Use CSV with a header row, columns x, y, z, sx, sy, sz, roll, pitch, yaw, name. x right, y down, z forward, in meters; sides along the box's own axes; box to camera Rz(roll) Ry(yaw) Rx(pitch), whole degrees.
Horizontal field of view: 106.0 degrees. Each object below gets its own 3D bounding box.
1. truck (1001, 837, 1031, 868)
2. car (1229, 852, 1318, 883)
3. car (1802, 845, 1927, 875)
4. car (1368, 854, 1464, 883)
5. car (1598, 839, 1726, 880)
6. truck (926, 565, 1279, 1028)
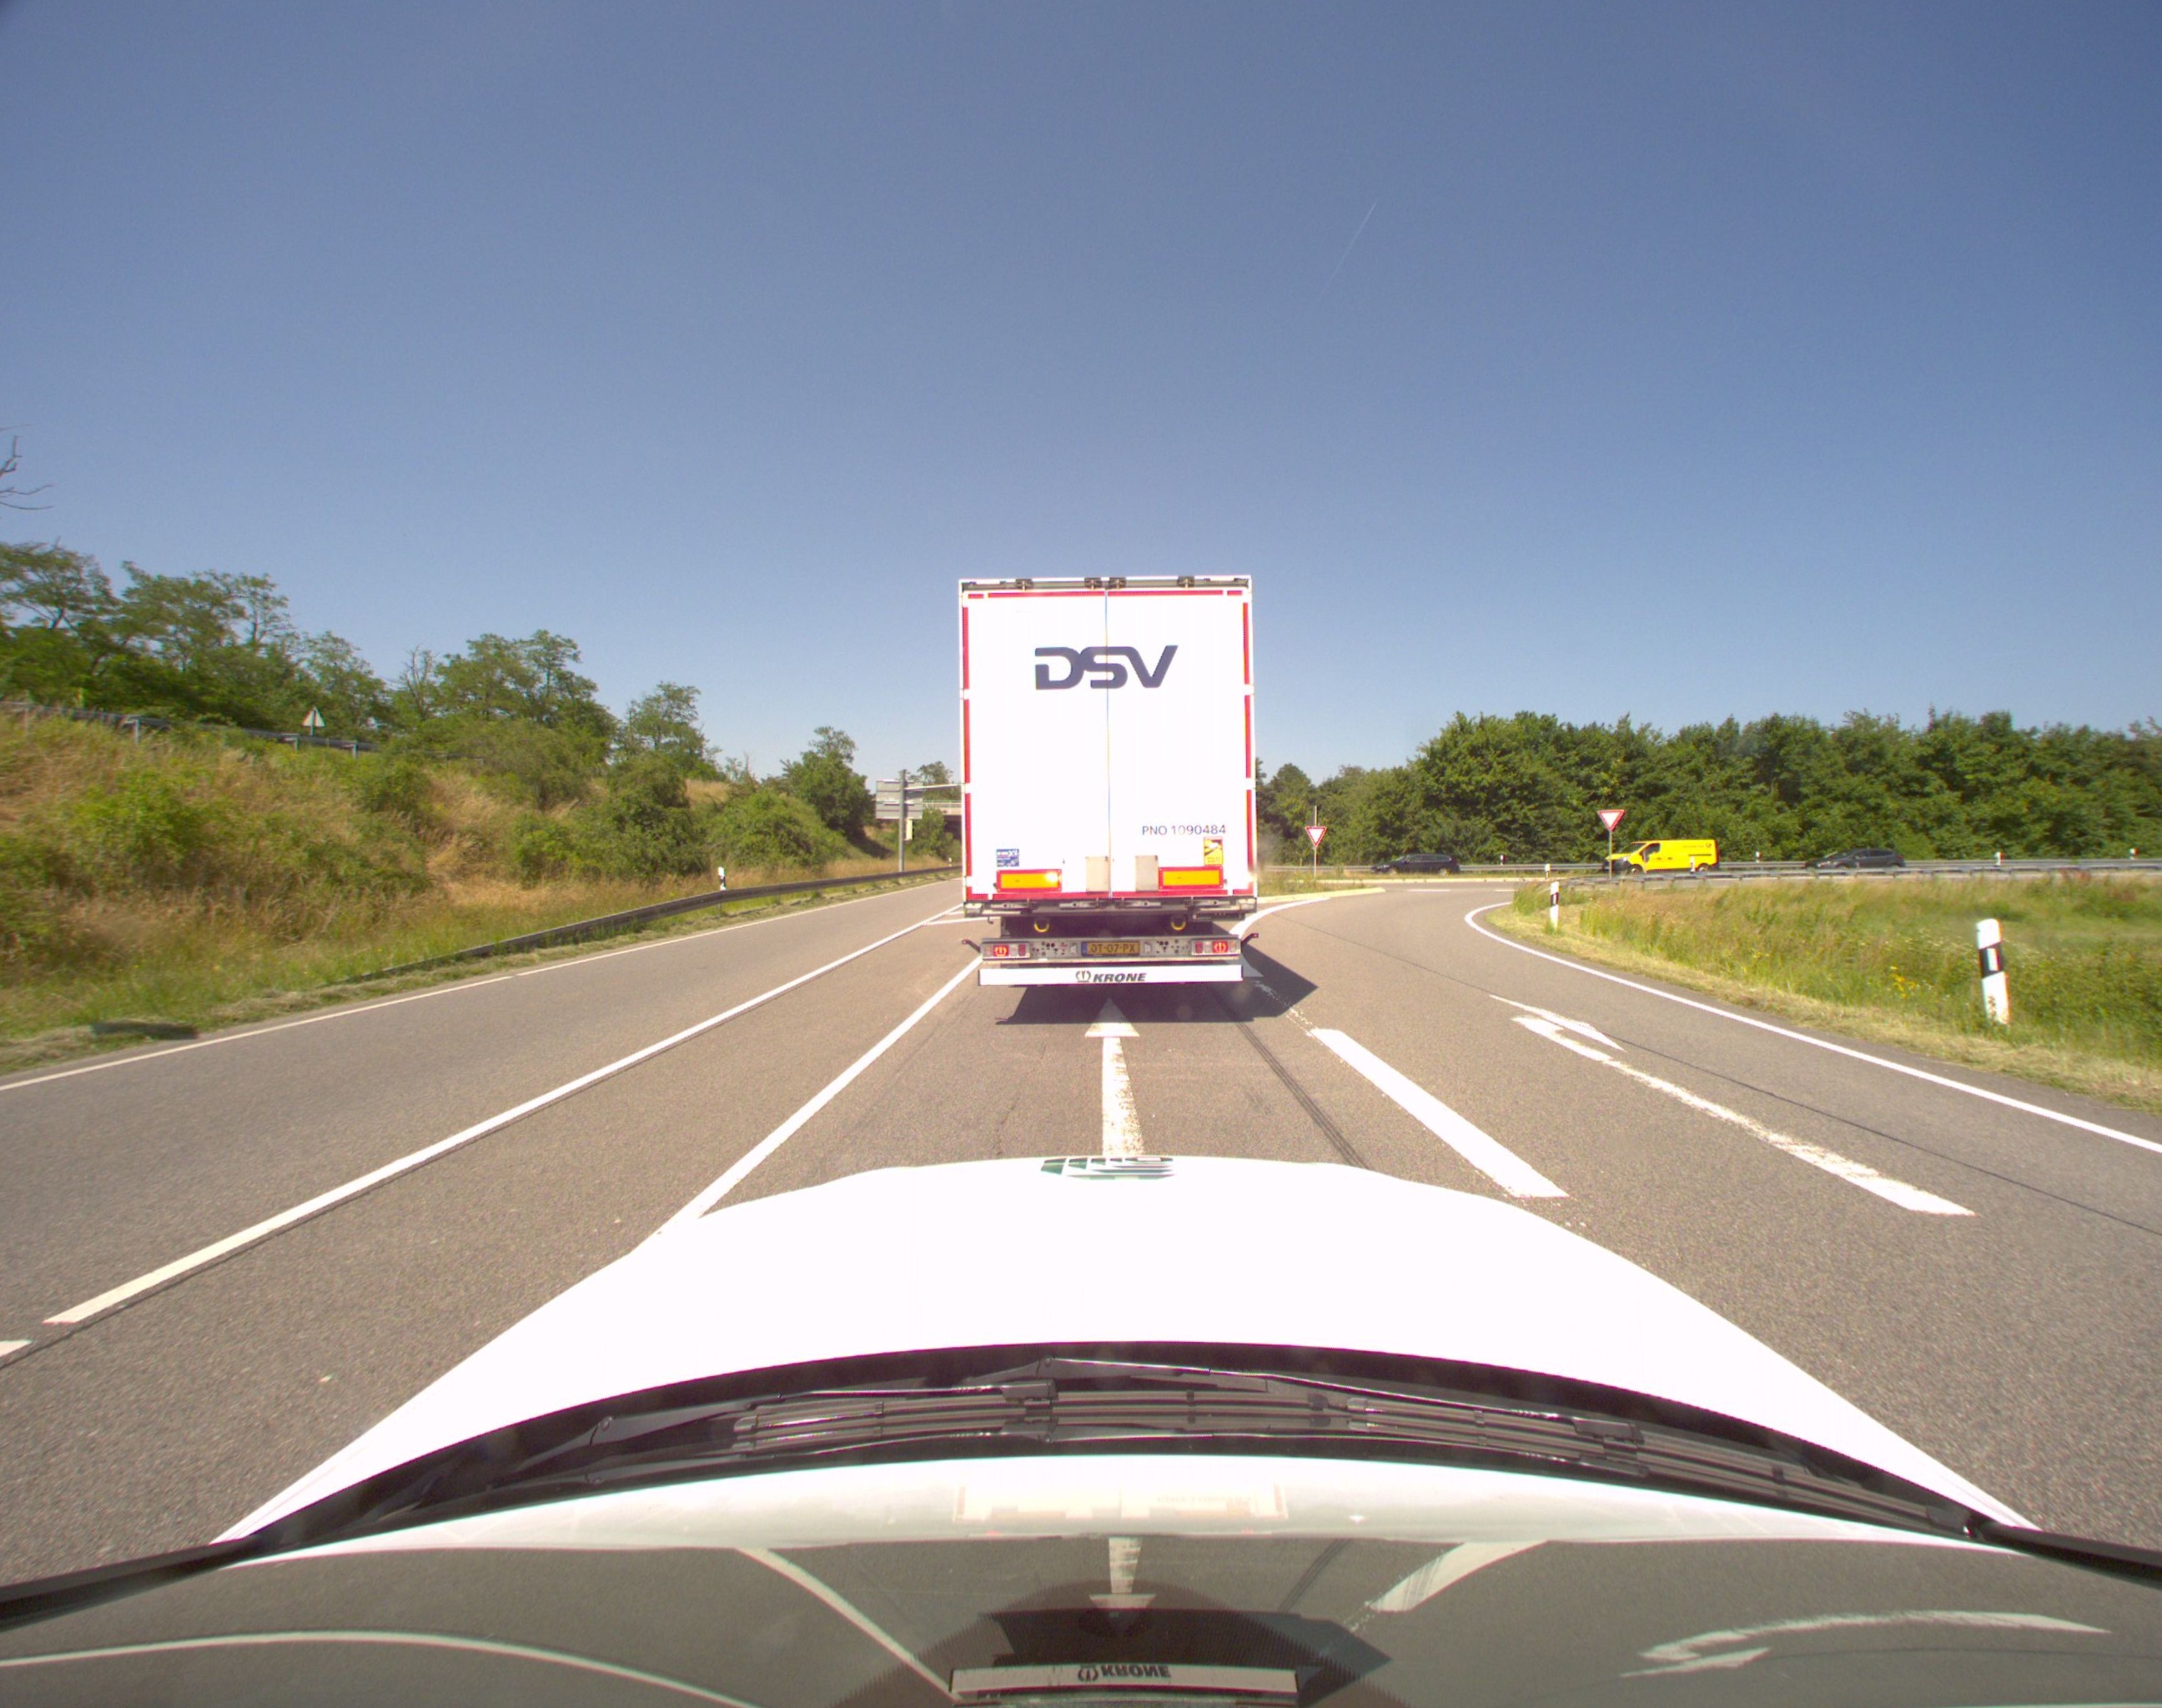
x,y,z,sx,sy,sz,roll,pitch,yaw,name
-7.651,-0.170,96.809,2.634,3.538,7.893,-1,-1,2,truck
10.351,0.742,44.024,4.466,1.598,1.769,-1,-1,4,car
41.190,0.332,42.894,4.662,1.514,1.855,-1,-1,3,car
18.558,0.807,45.305,4.655,1.514,1.858,-1,-1,8,car
30.710,0.296,43.150,5.301,2.014,2.001,-1,-1,2,car
0.293,-0.477,11.920,2.977,3.942,9.877,-1,0,1,truck
